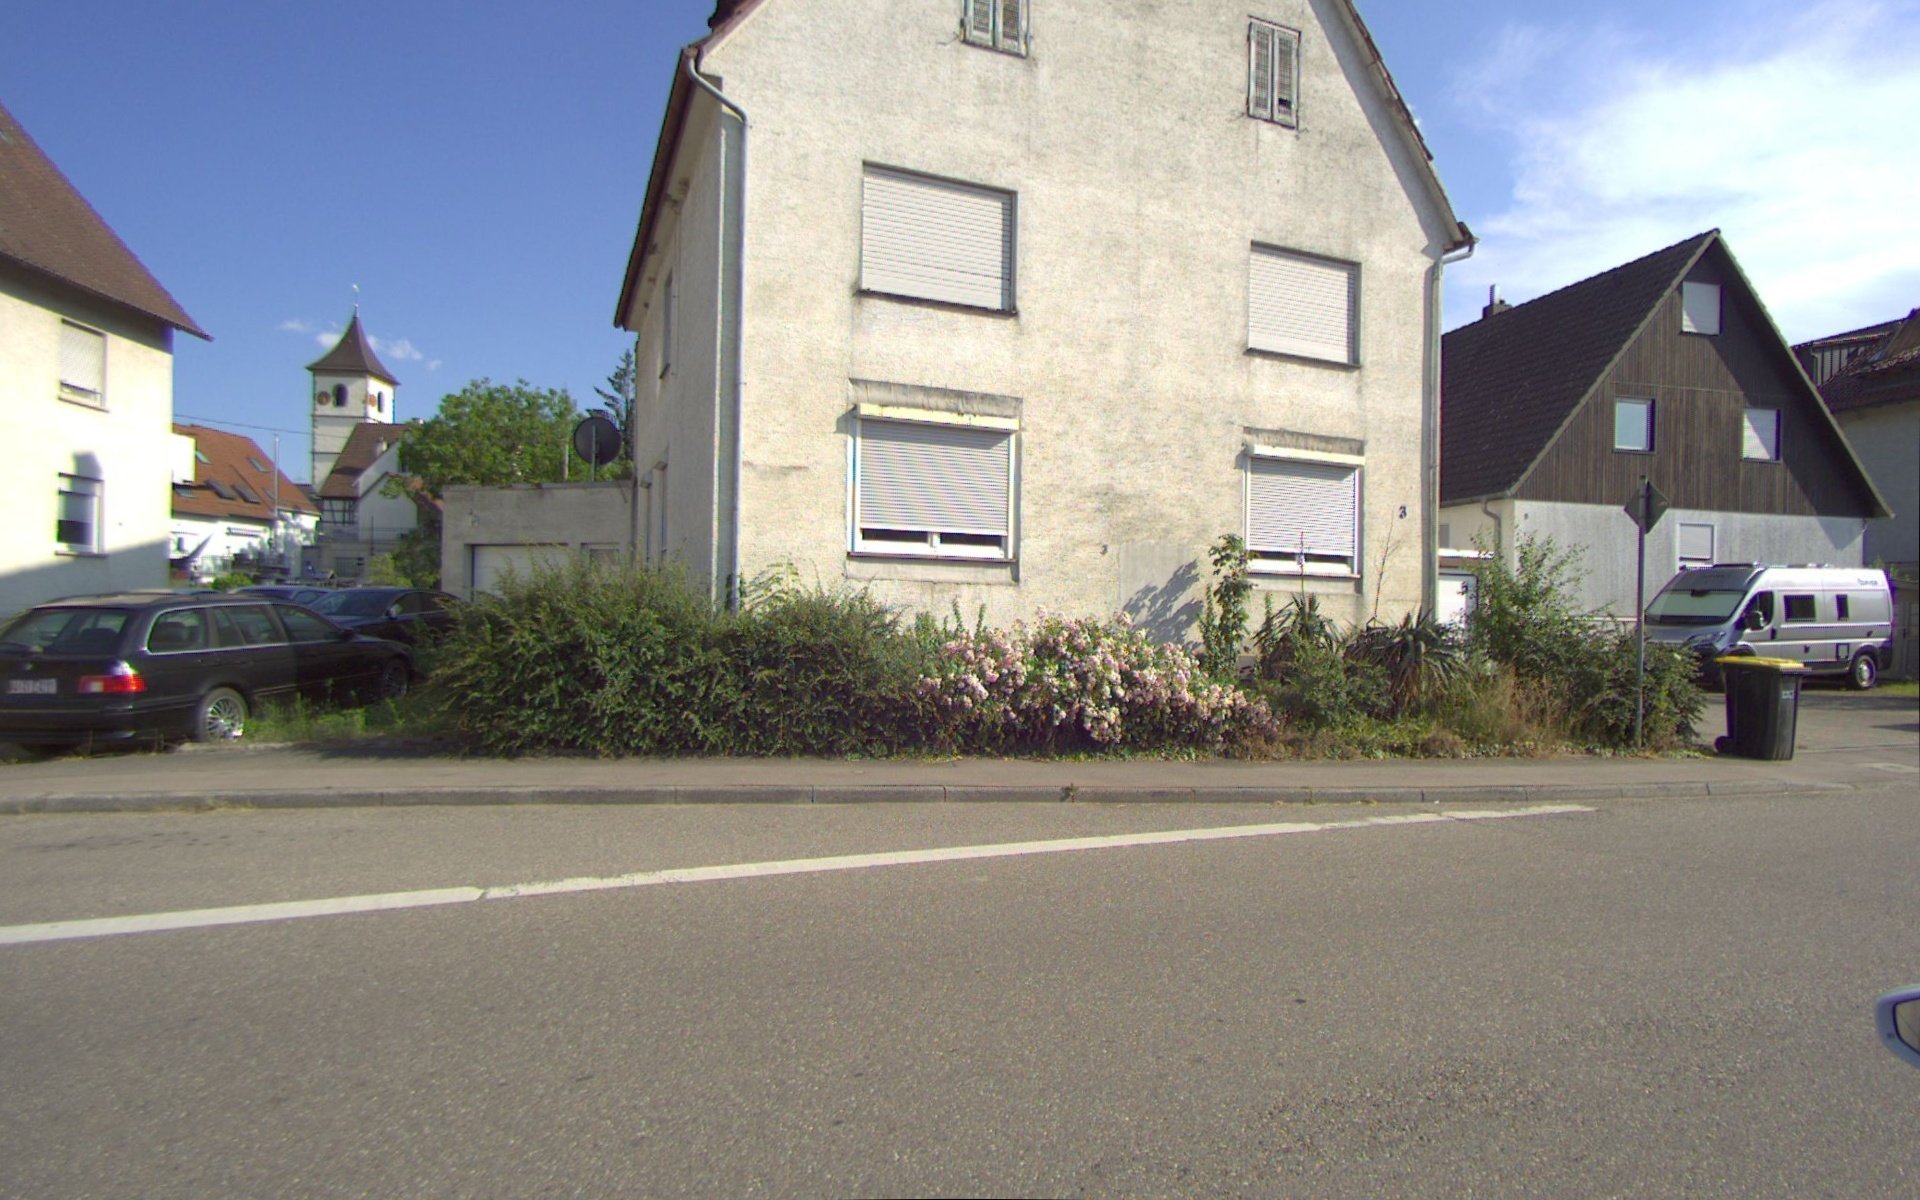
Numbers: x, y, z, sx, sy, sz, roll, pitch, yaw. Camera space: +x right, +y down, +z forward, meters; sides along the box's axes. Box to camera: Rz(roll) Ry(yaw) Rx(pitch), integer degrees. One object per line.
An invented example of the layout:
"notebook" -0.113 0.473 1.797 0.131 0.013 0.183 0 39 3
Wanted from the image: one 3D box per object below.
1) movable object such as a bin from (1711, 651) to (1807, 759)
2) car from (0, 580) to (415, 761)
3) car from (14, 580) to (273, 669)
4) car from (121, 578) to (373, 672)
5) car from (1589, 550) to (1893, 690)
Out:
"movable object such as a bin" 8.830 1.146 11.109 0.568 1.116 0.609 2 0 -24
"car" -7.535 0.600 10.217 1.620 1.452 4.002 1 -1 3
"car" -14.506 0.370 18.163 1.519 1.405 3.999 1 1 -2
"car" -12.234 0.372 17.584 1.653 1.432 3.999 1 1 -2
"car" 16.323 0.410 20.995 6.001 2.630 2.155 1 0 -20
